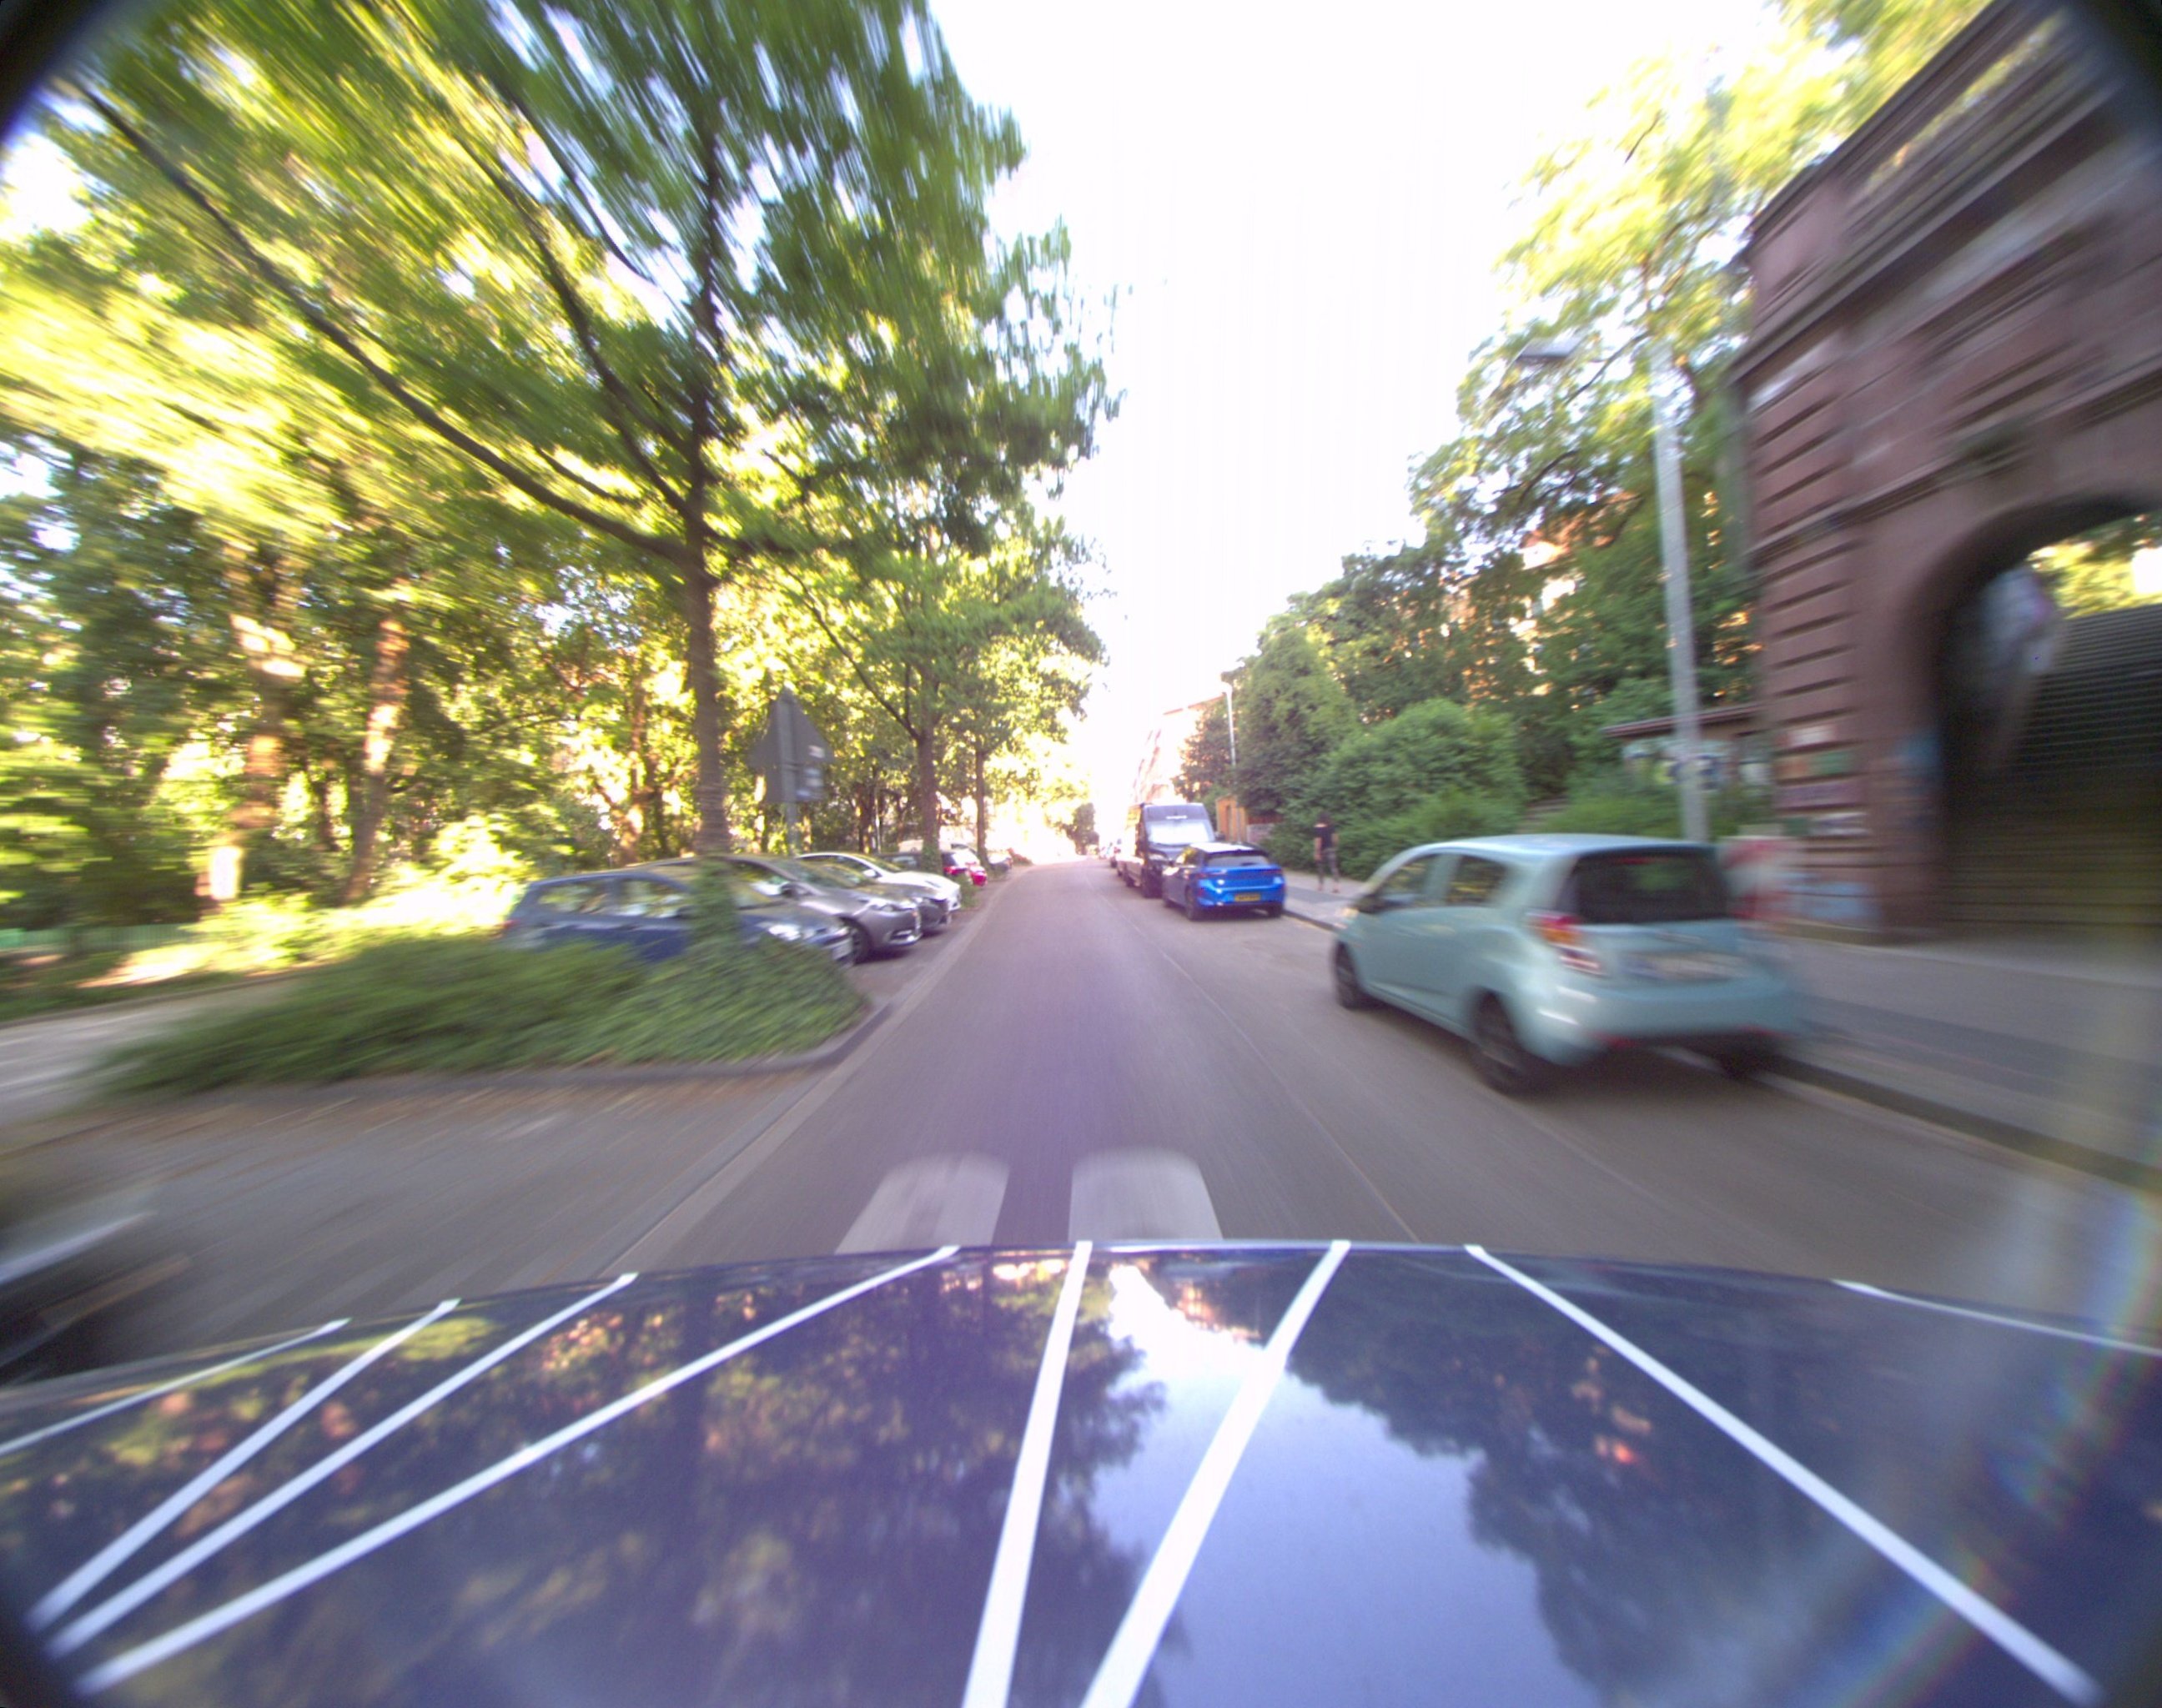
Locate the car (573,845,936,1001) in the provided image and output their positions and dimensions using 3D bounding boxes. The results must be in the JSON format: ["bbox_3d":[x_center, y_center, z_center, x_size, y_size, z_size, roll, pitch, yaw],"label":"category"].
[{"bbox_3d":[-4.549,0.910,11.200,4.386,1.699,1.906,-5,2,-3],"label":"car"}]

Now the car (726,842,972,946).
[{"bbox_3d":[-4.808,0.788,16.272,4.544,1.686,1.907,-5,2,-1],"label":"car"}]

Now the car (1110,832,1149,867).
[{"bbox_3d":[2.239,-0.262,35.971,1.703,1.489,4.548,-2,2,2],"label":"car"}]

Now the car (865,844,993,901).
[{"bbox_3d":[-5.169,0.603,26.204,3.997,1.565,1.586,-5,2,-1],"label":"car"}]

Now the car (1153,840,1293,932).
[{"bbox_3d":[2.734,0.521,15.656,1.749,1.458,4.373,-5,2,-3],"label":"car"}]

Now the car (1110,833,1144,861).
[{"bbox_3d":[2.518,-0.448,42.356,1.703,1.392,4.193,-2,2,2],"label":"car"}]

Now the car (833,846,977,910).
[{"bbox_3d":[-5.391,0.704,23.647,3.997,1.565,1.586,-5,2,-1],"label":"car"}]

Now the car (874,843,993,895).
[{"bbox_3d":[-5.515,0.549,28.735,3.996,1.565,1.665,-5,2,3],"label":"car"}]

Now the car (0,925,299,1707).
[{"bbox_3d":[-4.306,1.171,1.100,4.386,1.569,1.673,-5,2,-1],"label":"car"}]

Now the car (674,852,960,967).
[{"bbox_3d":[-4.580,0.934,13.714,4.386,1.524,1.875,-5,2,-1],"label":"car"}]

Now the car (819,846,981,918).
[{"bbox_3d":[-4.962,0.748,21.235,4.031,1.565,1.586,-5,2,-1],"label":"car"}]

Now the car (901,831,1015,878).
[{"bbox_3d":[-5.335,-0.011,33.509,4.683,1.914,1.871,-1,2,-1],"label":"car"}]

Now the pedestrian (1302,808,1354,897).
[{"bbox_3d":[5.583,-0.044,17.233,0.639,1.904,1.046,-5,2,-6],"label":"pedestrian"}]

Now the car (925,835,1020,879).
[{"bbox_3d":[-5.112,0.123,36.104,3.996,1.748,1.798,-5,2,5],"label":"car"}]

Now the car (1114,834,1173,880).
[{"bbox_3d":[2.230,0.054,28.095,1.704,1.499,4.226,-2,2,-1],"label":"car"}]

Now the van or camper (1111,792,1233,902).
[{"bbox_3d":[2.365,-0.263,21.738,2.242,2.509,6.417,-5,2,-3],"label":"van or camper"}]

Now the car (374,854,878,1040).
[{"bbox_3d":[-4.889,0.966,8.561,4.596,1.597,1.734,-3,2,4],"label":"car"}]

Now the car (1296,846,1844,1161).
[{"bbox_3d":[3.101,0.751,5.887,1.599,1.538,3.913,-2,1,-2],"label":"car"}]
